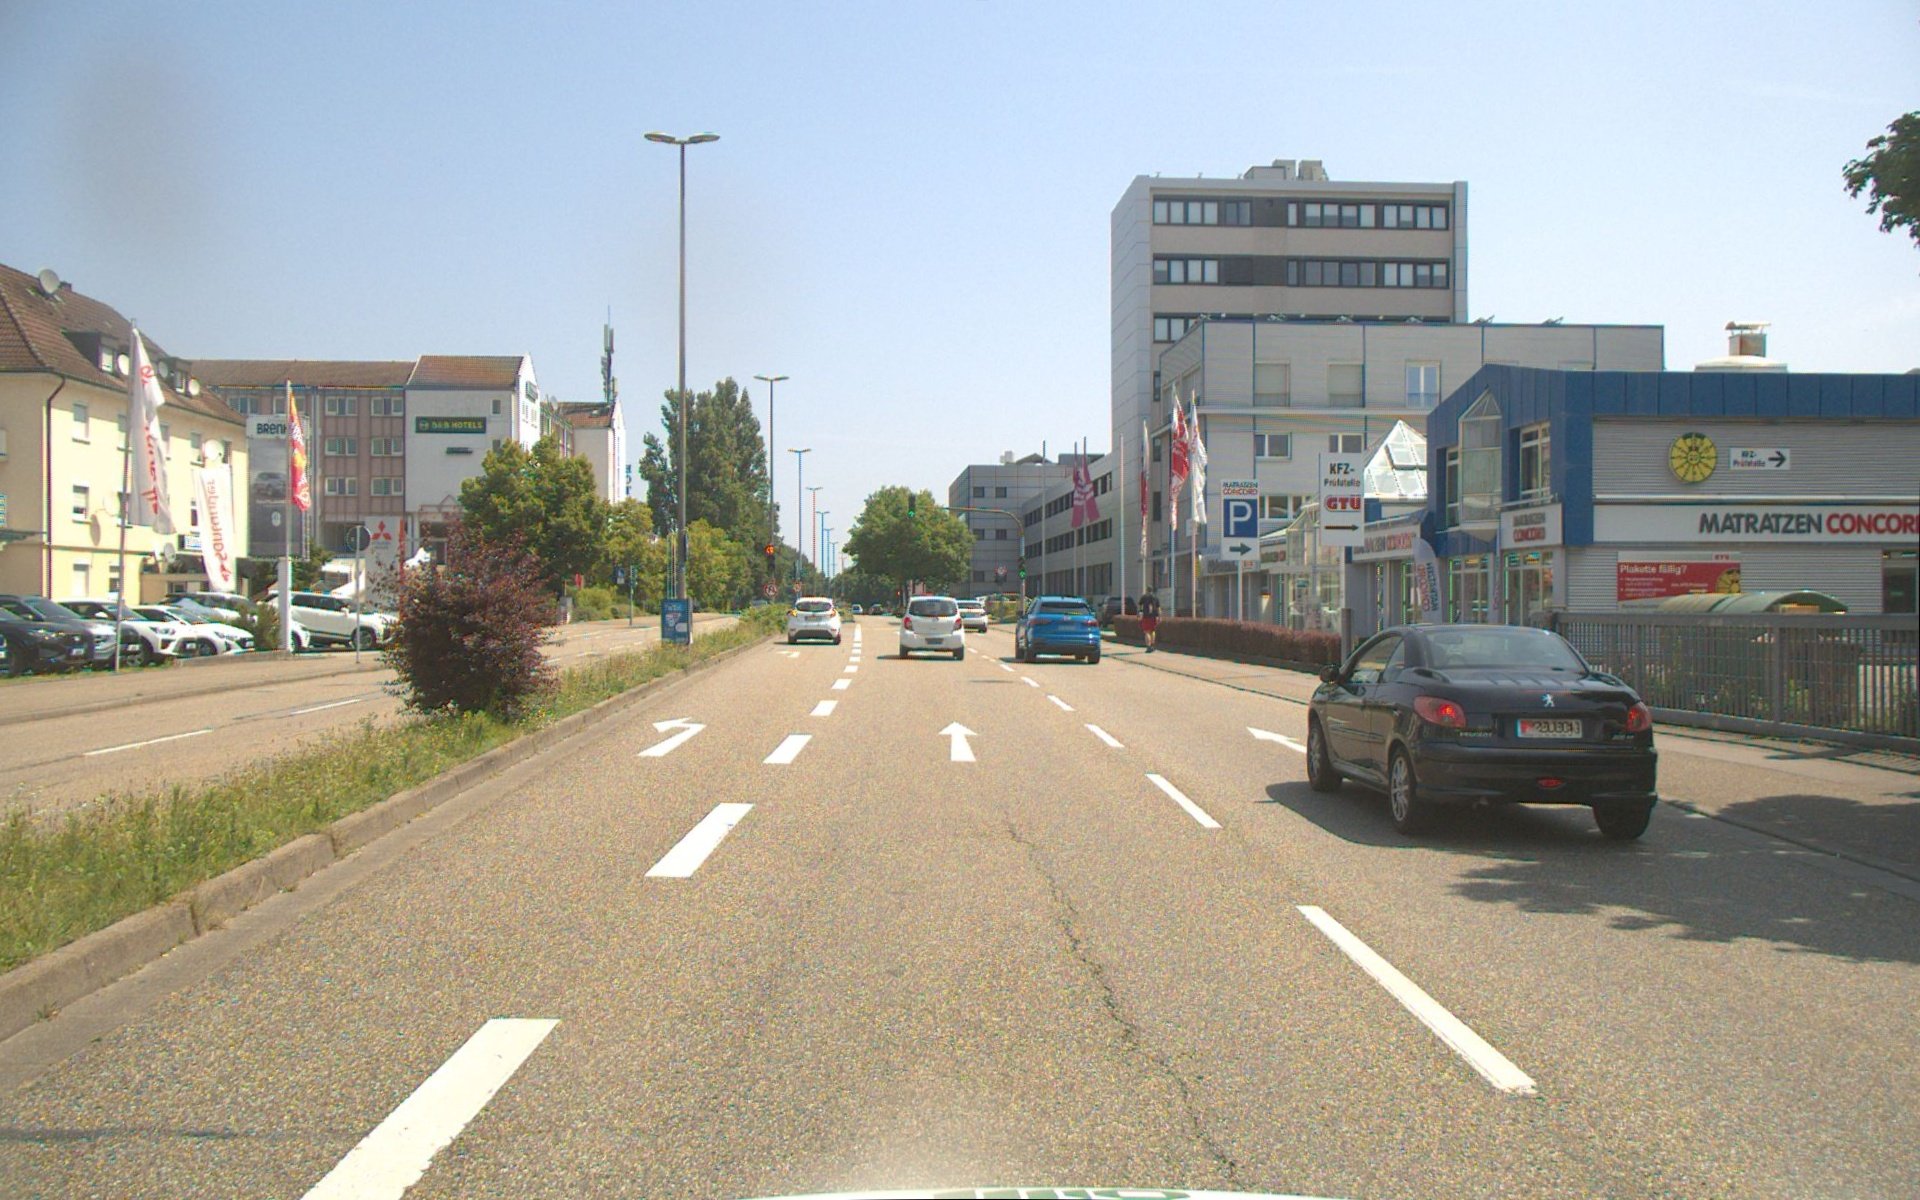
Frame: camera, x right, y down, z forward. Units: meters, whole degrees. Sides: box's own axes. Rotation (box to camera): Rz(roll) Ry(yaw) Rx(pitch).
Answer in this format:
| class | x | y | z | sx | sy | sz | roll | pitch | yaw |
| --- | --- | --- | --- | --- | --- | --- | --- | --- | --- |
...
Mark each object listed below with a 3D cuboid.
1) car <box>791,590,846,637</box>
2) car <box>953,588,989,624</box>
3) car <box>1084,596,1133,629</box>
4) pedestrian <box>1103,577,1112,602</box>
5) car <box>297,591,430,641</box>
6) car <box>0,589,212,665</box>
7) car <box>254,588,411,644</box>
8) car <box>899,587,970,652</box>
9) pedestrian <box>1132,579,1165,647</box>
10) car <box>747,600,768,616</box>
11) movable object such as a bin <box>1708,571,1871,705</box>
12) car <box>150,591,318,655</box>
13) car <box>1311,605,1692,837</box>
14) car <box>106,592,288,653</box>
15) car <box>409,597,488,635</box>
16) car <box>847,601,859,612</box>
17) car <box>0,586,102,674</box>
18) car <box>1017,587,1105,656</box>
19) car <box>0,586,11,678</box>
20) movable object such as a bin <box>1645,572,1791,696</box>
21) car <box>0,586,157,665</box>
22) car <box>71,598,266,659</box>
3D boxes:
| class | x | y | z | sx | sy | sz | roll | pitch | yaw |
| --- | --- | --- | --- | --- | --- | --- | --- | --- | --- |
| car | -4.542 | 0.401 | 53.369 | 1.655 | 1.459 | 3.709 | 0 | 0 | -3 |
| car | 0.463 | 0.244 | 74.380 | 1.527 | 1.546 | 3.605 | 0 | 0 | -1 |
| car | 7.345 | 0.591 | 82.279 | 1.807 | 1.558 | 4.194 | 1 | 0 | -4 |
| pedestrian | 9.757 | -0.709 | 109.332 | 0.580 | 1.663 | 0.523 | -1 | 0 | 4 |
| car | -21.021 | 0.534 | 58.454 | 1.802 | 1.671 | 4.165 | -1 | 0 | 34 |
| car | -19.546 | 0.595 | 37.921 | 3.909 | 1.636 | 1.923 | -1 | 0 | -5 |
| car | -20.512 | 0.513 | 54.197 | 4.458 | 1.739 | 1.758 | -1 | 0 | -5 |
| car | -0.687 | 0.466 | 42.120 | 1.713 | 1.546 | 3.744 | 1 | 0 | -2 |
| pedestrian | 5.294 | 0.364 | 46.496 | 0.769 | 1.879 | 0.936 | -1 | 0 | -1 |
| car | -18.906 | 0.731 | 154.630 | 1.955 | 1.512 | 4.495 | -1 | 0 | -7 |
| movable object such as a bin | 9.686 | 0.421 | 19.382 | 1.108 | 1.496 | 1.488 | -1 | 0 | -3 |
| car | -20.076 | 0.607 | 45.806 | 3.960 | 1.652 | 1.736 | -1 | 0 | -38 |
| car | 3.728 | 0.755 | 12.017 | 1.594 | 1.388 | 3.605 | 0 | 0 | 0 |
| car | -19.765 | 0.560 | 42.962 | 3.909 | 1.492 | 1.758 | -1 | 0 | -5 |
| car | -20.549 | 0.620 | 66.633 | 1.740 | 1.435 | 4.758 | -1 | 0 | -1 |
| car | -16.679 | 0.962 | 257.701 | 1.784 | 1.691 | 3.996 | -1 | 0 | -5 |
| car | -18.837 | 0.576 | 31.619 | 3.909 | 1.636 | 1.758 | -1 | 0 | -5 |
| car | 2.444 | 0.497 | 40.721 | 1.791 | 1.608 | 3.603 | 0 | 0 | -3 |
| car | -18.961 | 0.589 | 28.556 | 3.909 | 1.636 | 2.087 | -1 | 0 | -5 |
| movable object such as a bin | 9.616 | 0.413 | 21.053 | 1.108 | 1.496 | 1.488 | -1 | 0 | -3 |
| car | -19.321 | 0.525 | 34.855 | 3.909 | 1.595 | 1.758 | -1 | 0 | -5 |
| car | -19.451 | 0.685 | 40.781 | 3.909 | 1.419 | 1.858 | -1 | 0 | -5 |
